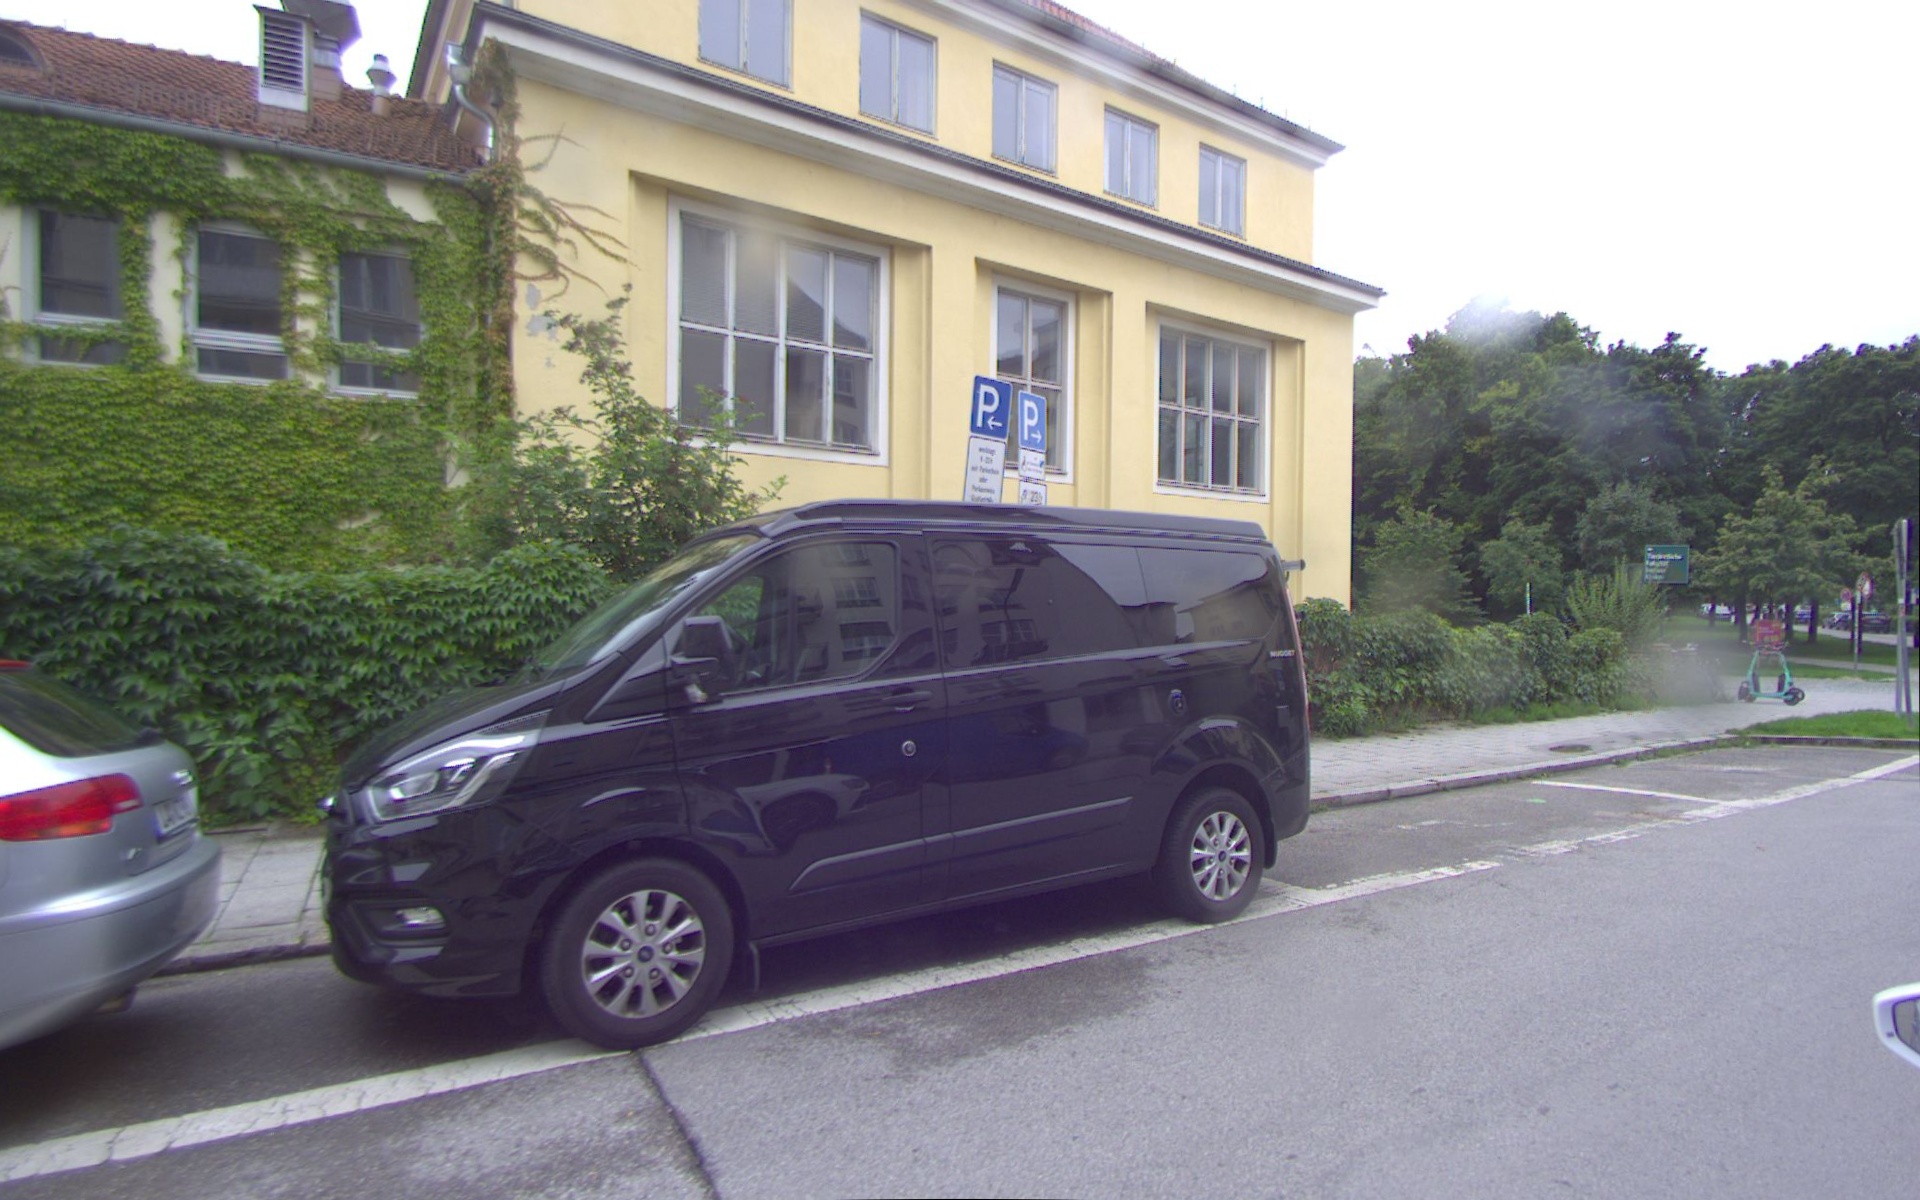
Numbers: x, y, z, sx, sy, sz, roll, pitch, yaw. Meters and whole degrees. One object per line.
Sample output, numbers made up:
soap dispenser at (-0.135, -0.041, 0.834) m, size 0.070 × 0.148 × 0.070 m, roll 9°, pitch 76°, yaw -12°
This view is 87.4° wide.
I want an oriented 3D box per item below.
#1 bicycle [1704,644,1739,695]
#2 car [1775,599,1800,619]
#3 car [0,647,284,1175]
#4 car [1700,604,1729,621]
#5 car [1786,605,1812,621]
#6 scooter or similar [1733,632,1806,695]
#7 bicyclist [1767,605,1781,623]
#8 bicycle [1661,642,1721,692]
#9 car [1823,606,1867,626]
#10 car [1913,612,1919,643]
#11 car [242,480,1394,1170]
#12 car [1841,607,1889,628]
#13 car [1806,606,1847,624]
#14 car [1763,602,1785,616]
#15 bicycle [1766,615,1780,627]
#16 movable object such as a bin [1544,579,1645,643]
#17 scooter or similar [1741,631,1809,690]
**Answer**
bicycle at (15.722, 1.415, 20.746) m, size 0.535 × 0.987 × 1.151 m, roll 0°, pitch 0°, yaw 35°
car at (91.282, 0.999, 110.807) m, size 1.969 × 2.188 × 3.983 m, roll 0°, pitch 0°, yaw 38°
car at (-4.590, 0.900, 2.656) m, size 4.442 × 1.411 × 1.689 m, roll 0°, pitch -4°, yaw -27°
car at (80.365, 1.299, 107.040) m, size 1.965 × 1.713 × 3.991 m, roll 0°, pitch 0°, yaw 31°
car at (86.162, 1.296, 103.184) m, size 1.969 × 1.627 × 3.983 m, roll 0°, pitch 0°, yaw 38°
scooter or similar at (16.438, 1.273, 20.419) m, size 0.340 × 1.204 × 1.113 m, roll 0°, pitch 1°, yaw -24°
bicyclist at (68.179, 1.178, 84.116) m, size 0.784 × 1.490 × 0.891 m, roll 1°, pitch 1°, yaw 31°
bicycle at (16.185, 1.465, 22.267) m, size 0.295 × 1.004 × 1.585 m, roll 0°, pitch -1°, yaw 4°
car at (75.198, 1.344, 85.410) m, size 1.964 × 1.627 × 3.993 m, roll 0°, pitch 0°, yaw 29°
car at (49.496, 1.388, 50.560) m, size 1.891 × 1.491 × 3.981 m, roll 1°, pitch 1°, yaw 39°
car at (-0.338, 0.709, 5.185) m, size 5.289 × 1.990 × 2.063 m, roll 1°, pitch -2°, yaw -31°
car at (72.476, 1.359, 80.478) m, size 1.964 × 1.627 × 3.993 m, roll 0°, pitch 0°, yaw 29°
car at (77.906, 1.328, 90.356) m, size 1.964 × 1.627 × 3.993 m, roll 0°, pitch 0°, yaw 29°
car at (97.569, 1.094, 120.423) m, size 1.969 × 1.627 × 3.983 m, roll 0°, pitch 0°, yaw 38°
bicycle at (68.110, 1.764, 84.166) m, size 0.630 × 0.981 × 1.991 m, roll 1°, pitch 1°, yaw 31°
movable object such as a bin at (32.653, 0.576, 51.784) m, size 3.921 × 3.256 × 2.000 m, roll 0°, pitch 0°, yaw 0°
scooter or similar at (17.008, 1.255, 20.971) m, size 1.097 × 1.204 × 0.345 m, roll 0°, pitch 1°, yaw 4°
